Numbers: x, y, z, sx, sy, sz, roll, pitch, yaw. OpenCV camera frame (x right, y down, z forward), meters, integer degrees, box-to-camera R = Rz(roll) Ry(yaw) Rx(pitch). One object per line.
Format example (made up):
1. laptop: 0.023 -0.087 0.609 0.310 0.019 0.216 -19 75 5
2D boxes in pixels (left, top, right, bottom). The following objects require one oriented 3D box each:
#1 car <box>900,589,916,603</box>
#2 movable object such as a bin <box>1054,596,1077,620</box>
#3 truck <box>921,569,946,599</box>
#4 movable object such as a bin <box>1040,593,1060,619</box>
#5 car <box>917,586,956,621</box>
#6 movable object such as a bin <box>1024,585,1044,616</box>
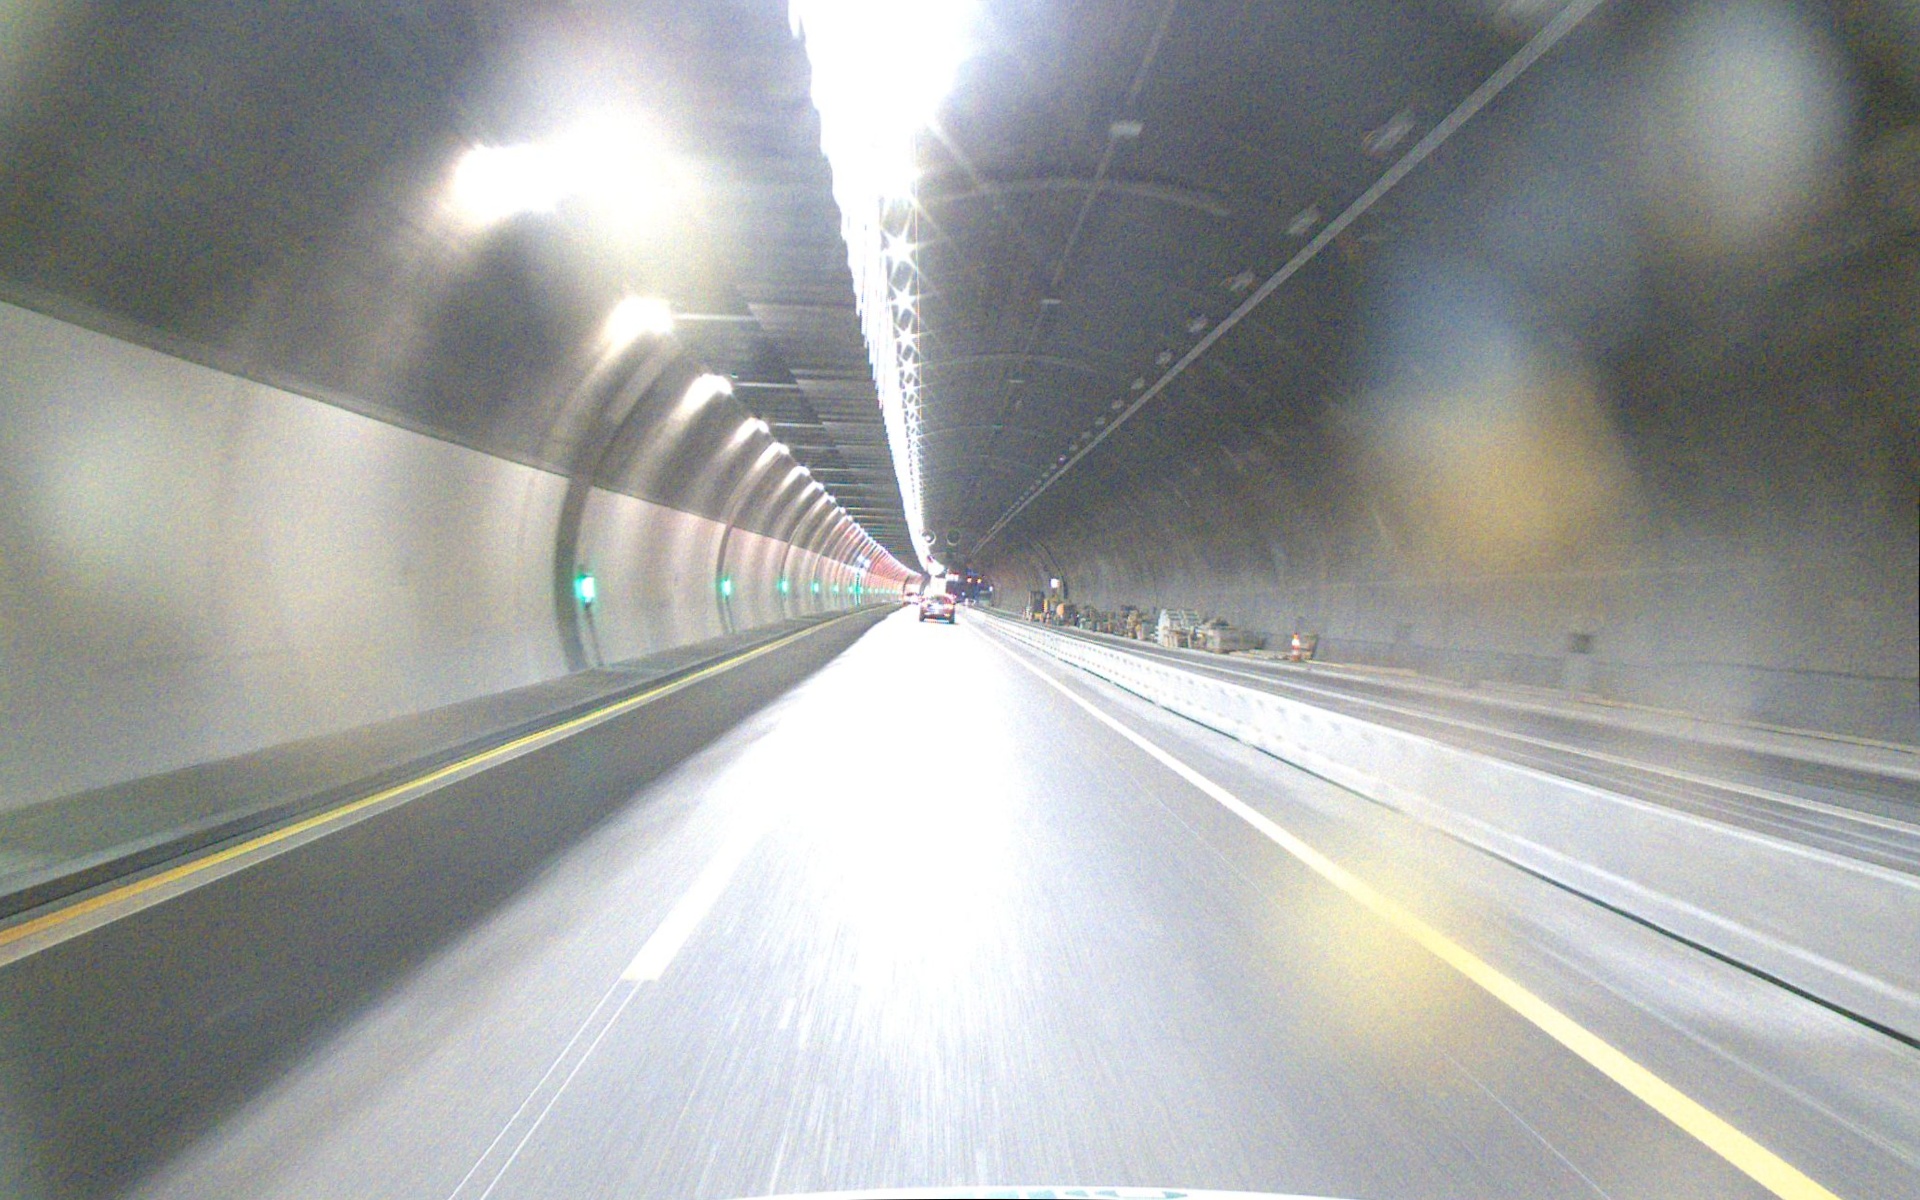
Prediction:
1. car: -6.194 -0.475 196.040 1.891 1.716 3.999 0 0 -2
2. movable object such as a bin: 6.607 0.511 104.036 1.210 1.467 2.216 2 0 -2
3. truck: -4.271 -2.508 265.724 3.984 4.612 14.961 0 0 -1
4. movable object such as a bin: 6.266 0.403 115.348 1.210 1.748 2.216 2 0 -2
5. car: -1.239 0.163 86.428 1.908 1.826 3.998 0 0 -3
6. movable object such as a bin: 5.475 0.041 122.180 1.210 2.178 2.216 2 0 -2
